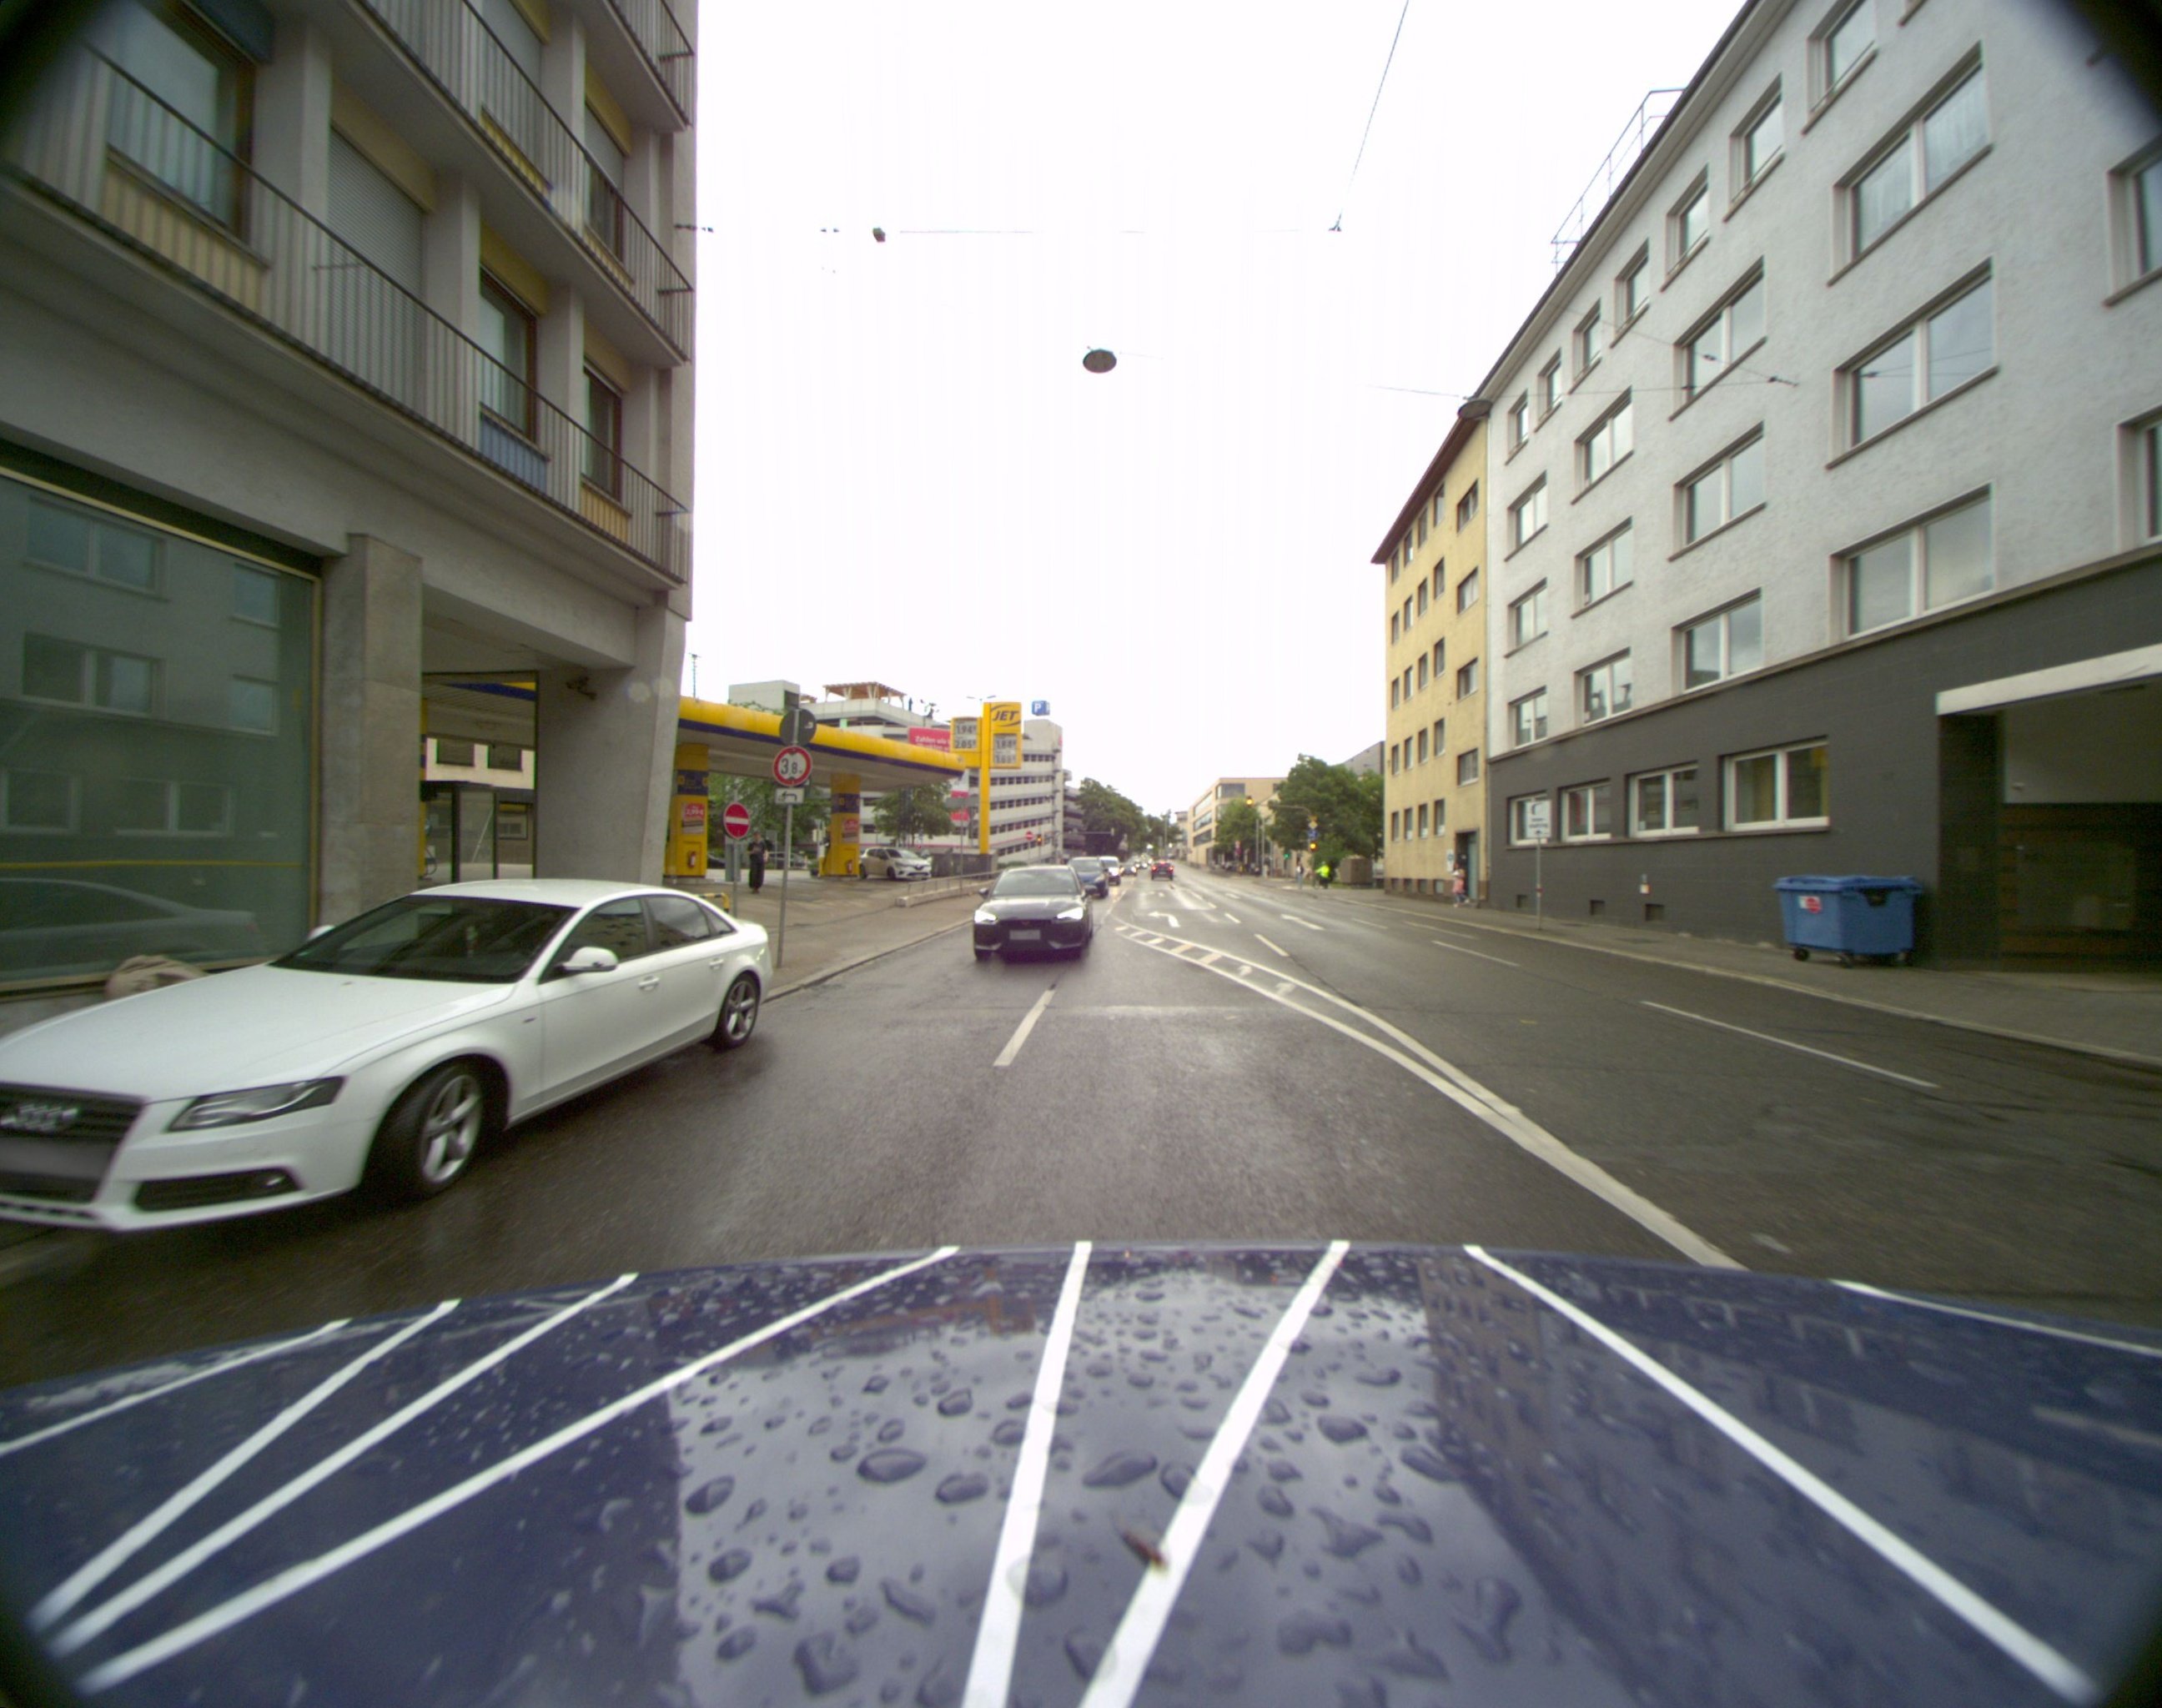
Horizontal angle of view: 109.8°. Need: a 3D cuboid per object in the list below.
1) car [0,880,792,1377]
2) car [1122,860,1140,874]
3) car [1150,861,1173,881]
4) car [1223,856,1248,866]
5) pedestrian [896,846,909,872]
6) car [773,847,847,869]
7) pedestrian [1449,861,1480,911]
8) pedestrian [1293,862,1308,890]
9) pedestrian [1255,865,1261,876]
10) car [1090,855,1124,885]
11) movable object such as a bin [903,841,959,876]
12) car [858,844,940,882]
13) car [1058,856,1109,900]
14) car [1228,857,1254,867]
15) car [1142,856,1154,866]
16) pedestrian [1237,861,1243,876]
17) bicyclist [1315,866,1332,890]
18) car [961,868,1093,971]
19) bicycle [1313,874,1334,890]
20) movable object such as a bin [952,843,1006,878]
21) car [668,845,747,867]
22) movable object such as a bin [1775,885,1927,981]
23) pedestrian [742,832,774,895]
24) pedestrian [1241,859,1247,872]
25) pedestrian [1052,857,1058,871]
[{"bbox_3d":[-3.863,1.019,4.940,1.897,1.394,4.610,5,0,3],"label":"car"},{"bbox_3d":[5.647,1.462,86.294,1.804,1.561,3.952,-2,-1,7],"label":"car"},{"bbox_3d":[6.878,1.407,64.914,1.811,1.585,4.297,1,0,6],"label":"car"},{"bbox_3d":[25.593,1.151,125.871,3.994,1.575,2.001,-1,0,9],"label":"car"},{"bbox_3d":[-10.160,0.288,43.215,0.576,1.506,0.478,-1,0,-35],"label":"pedestrian"},{"bbox_3d":[-20.893,0.313,58.710,5.035,1.622,2.000,-1,0,0],"label":"car"},{"bbox_3d":[13.097,1.082,25.971,0.718,1.679,0.811,-1,0,7],"label":"pedestrian"},{"bbox_3d":[13.688,1.373,47.414,0.718,1.679,0.811,-1,0,7],"label":"pedestrian"},{"bbox_3d":[20.748,1.924,88.857,0.622,1.368,0.475,-1,0,6],"label":"pedestrian"},{"bbox_3d":[1.668,0.999,48.184,1.804,1.817,3.952,-2,-1,7],"label":"car"},{"bbox_3d":[-7.198,0.209,36.662,2.160,1.546,1.774,2,0,6],"label":"movable object such as a bin"},{"bbox_3d":[-7.930,0.354,32.830,1.750,1.434,3.987,2,1,-41],"label":"car"},{"bbox_3d":[0.152,0.918,30.510,1.845,1.646,4.001,0,0,3],"label":"car"},{"bbox_3d":[25.906,1.356,123.410,3.994,1.575,2.001,-1,0,9],"label":"car"},{"bbox_3d":[12.011,1.205,135.917,1.998,1.772,4.001,-1,0,3],"label":"car"},{"bbox_3d":[18.891,1.688,90.500,0.595,1.761,0.692,-1,0,4],"label":"pedestrian"},{"bbox_3d":[14.609,1.441,45.832,0.844,1.433,0.813,-1,0,7],"label":"bicyclist"},{"bbox_3d":[-0.734,0.973,13.075,1.738,1.380,4.583,-1,0,2],"label":"car"},{"bbox_3d":[14.653,1.665,45.887,0.887,0.902,1.868,-1,0,7],"label":"bicycle"},{"bbox_3d":[-4.889,0.305,36.548,2.160,1.565,1.774,1,0,6],"label":"movable object such as a bin"},{"bbox_3d":[-28.825,0.178,58.733,5.035,1.622,2.000,-1,0,0],"label":"car"},{"bbox_3d":[11.446,1.149,11.353,1.078,1.316,1.191,-1,0,5],"label":"movable object such as a bin"},{"bbox_3d":[-9.293,0.275,21.868,0.661,1.761,0.528,2,2,-37],"label":"pedestrian"},{"bbox_3d":[19.630,1.354,91.740,0.595,1.507,0.692,-1,0,4],"label":"pedestrian"},{"bbox_3d":[-3.294,1.234,95.694,0.583,1.650,0.519,3,2,22],"label":"pedestrian"}]
